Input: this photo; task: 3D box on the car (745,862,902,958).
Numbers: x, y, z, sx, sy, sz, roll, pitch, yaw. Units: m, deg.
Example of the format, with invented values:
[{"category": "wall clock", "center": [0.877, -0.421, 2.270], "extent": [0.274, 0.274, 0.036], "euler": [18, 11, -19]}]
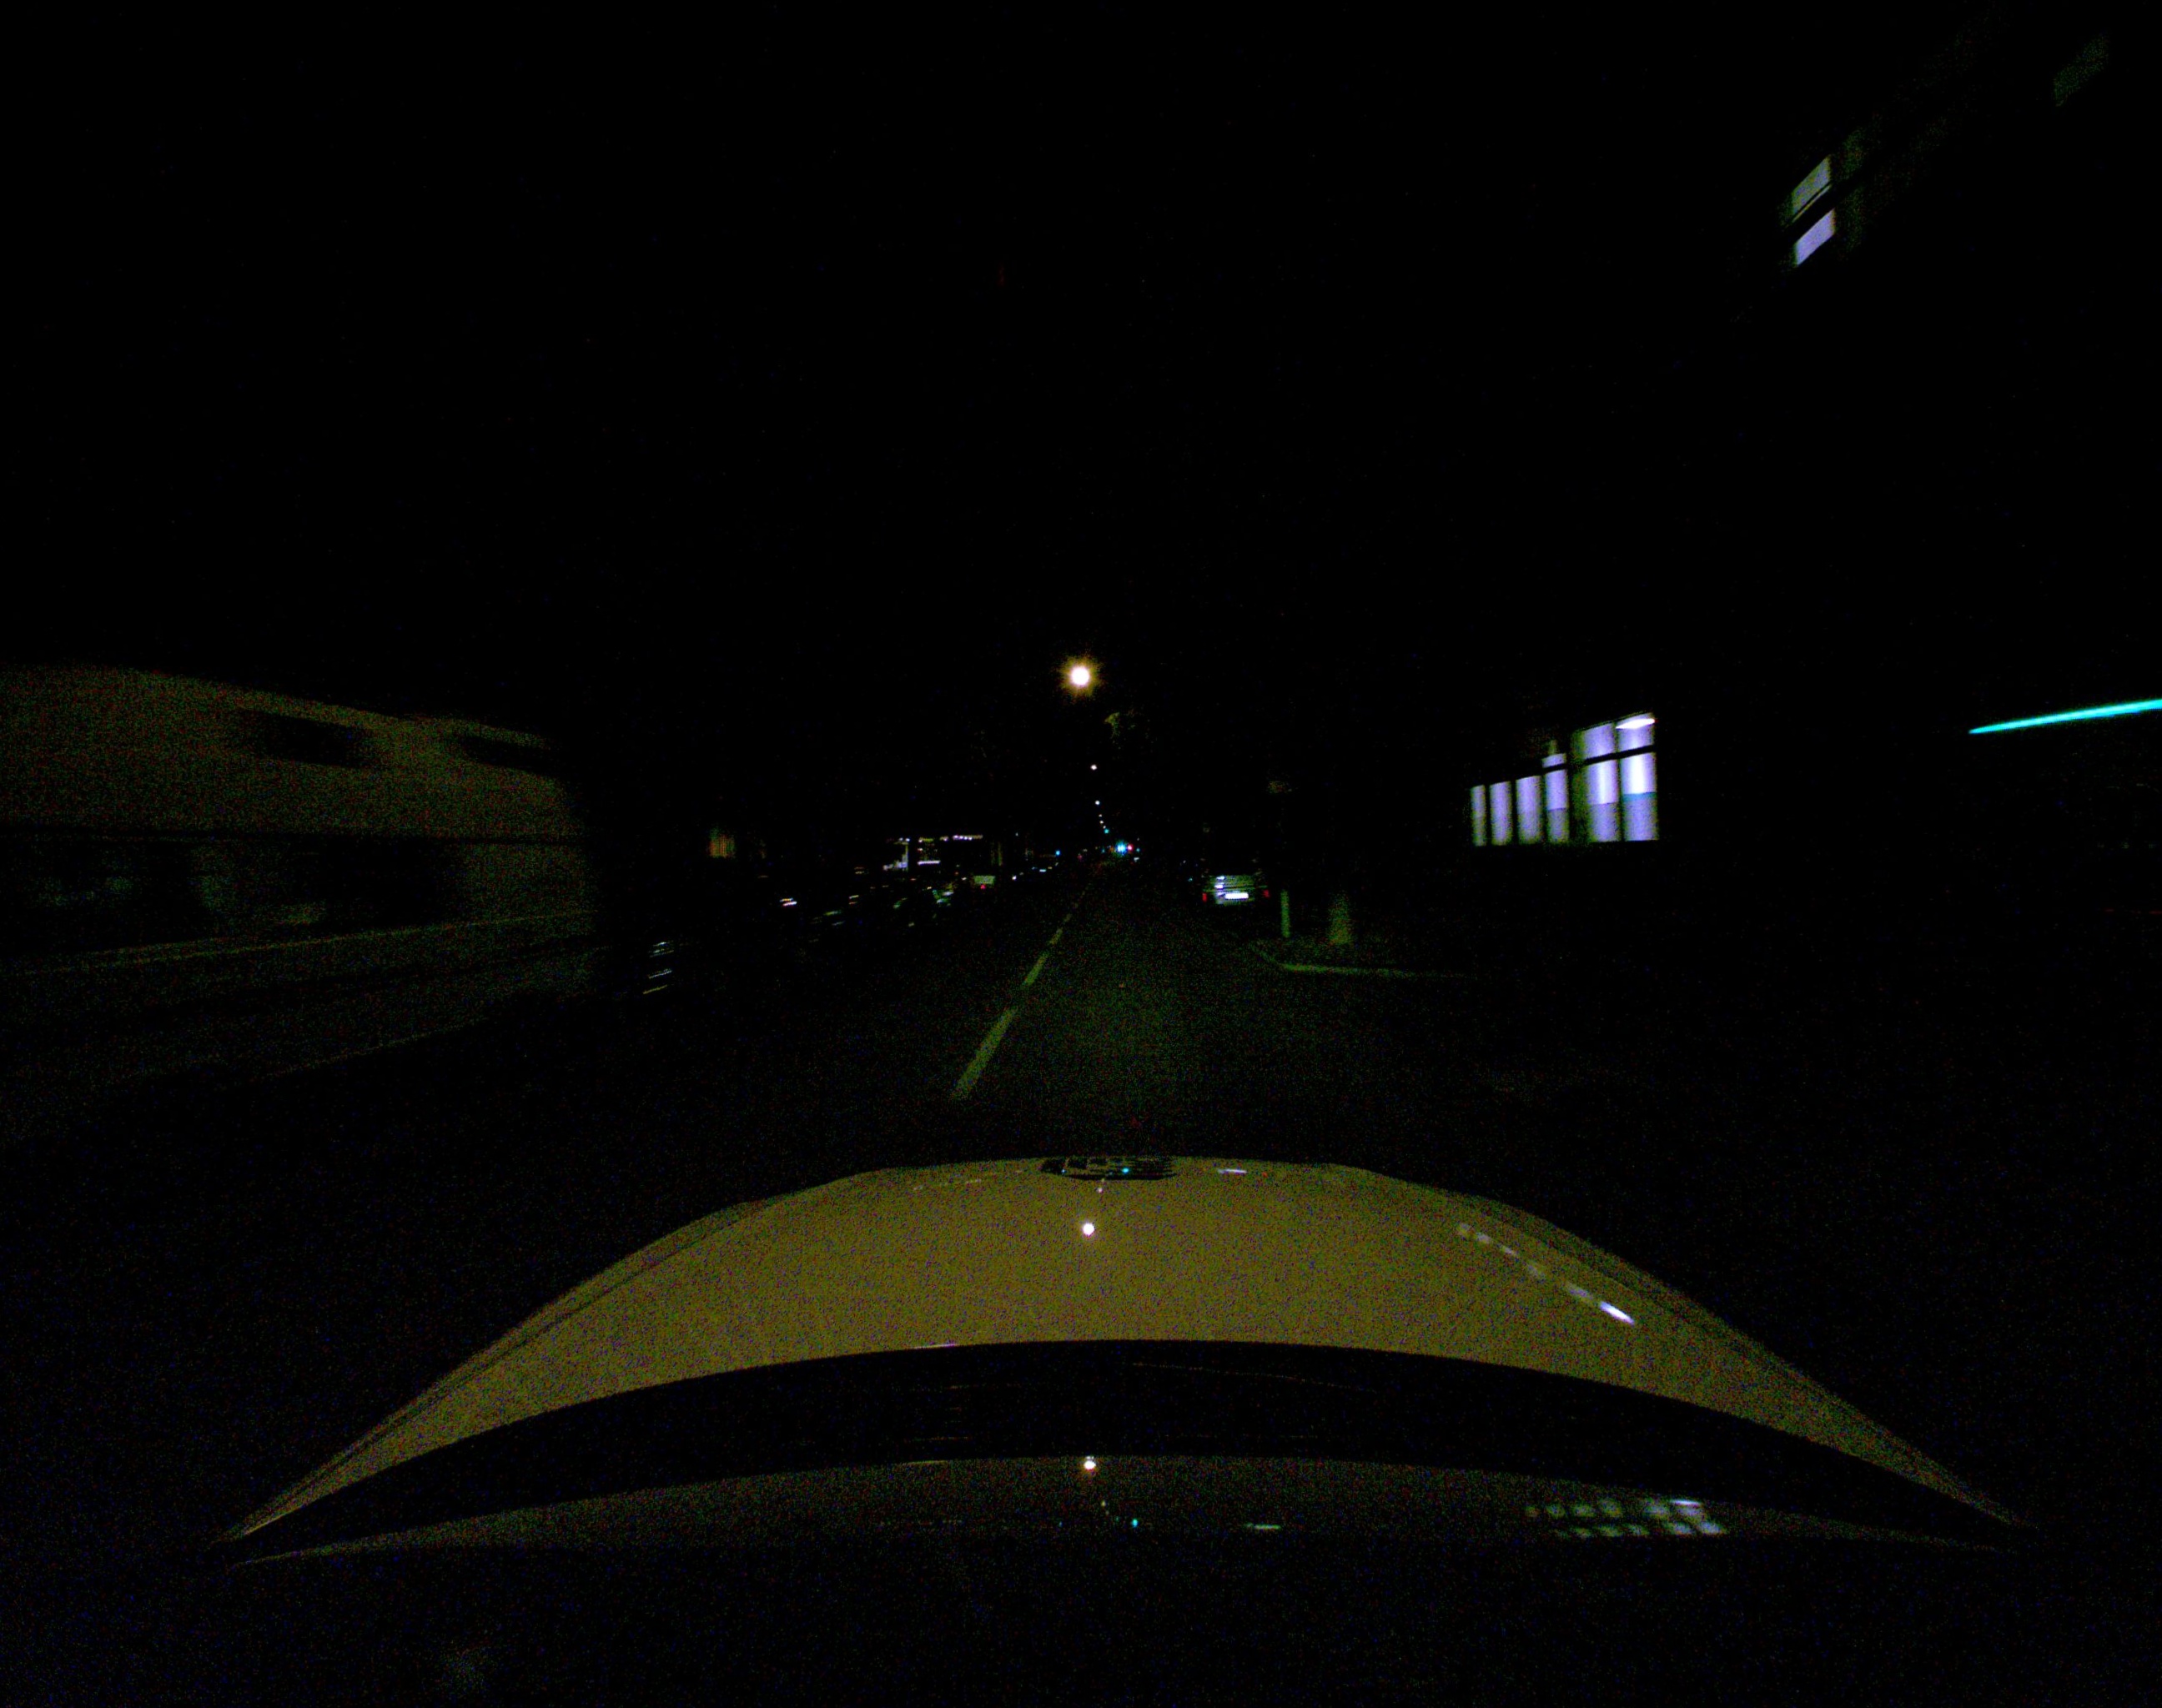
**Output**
[{"category": "car", "center": [-4.898, 0.984, 16.147], "extent": [1.736, 1.606, 4.297], "euler": [0, 0, 0]}]

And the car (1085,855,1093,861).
[{"category": "car", "center": [2.049, 0.975, 200.112], "extent": [1.734, 1.416, 3.754], "euler": [-1, 0, 2]}]

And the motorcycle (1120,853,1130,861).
[{"category": "motorcycle", "center": [7.217, 0.516, 133.098], "extent": [0.630, 1.270, 2.077], "euler": [-2, 0, 37]}]

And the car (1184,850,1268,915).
[{"category": "car", "center": [3.710, 0.669, 21.454], "extent": [1.661, 1.429, 4.152], "euler": [-4, 0, 4]}]

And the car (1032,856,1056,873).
[{"category": "car", "center": [-3.194, 0.910, 71.390], "extent": [1.693, 1.433, 3.831], "euler": [1, 0, 3]}]

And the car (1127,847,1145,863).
[{"category": "car", "center": [6.158, 0.091, 91.893], "extent": [1.846, 1.654, 4.212], "euler": [-4, 0, 2]}]

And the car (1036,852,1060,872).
[{"category": "car", "center": [-3.100, 0.731, 77.630], "extent": [1.815, 1.811, 4.213], "euler": [1, 0, 3]}]

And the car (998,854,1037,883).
[{"category": "car", "center": [-3.792, 0.844, 49.486], "extent": [1.815, 1.599, 4.076], "euler": [1, 0, 3]}]

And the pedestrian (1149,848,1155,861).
[{"category": "pedestrian", "center": [9.770, 0.071, 111.594], "extent": [0.702, 1.721, 0.822], "euler": [-3, 0, 2]}]

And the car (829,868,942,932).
[{"category": "car", "center": [-4.933, 1.106, 21.222], "extent": [1.698, 1.411, 4.635], "euler": [-1, 0, 1]}]

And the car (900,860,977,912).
[{"category": "car", "center": [-4.575, 0.986, 26.727], "extent": [1.710, 1.502, 4.206], "euler": [1, 0, 1]}]

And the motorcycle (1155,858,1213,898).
[{"category": "motorcycle", "center": [3.467, 0.794, 27.645], "extent": [0.930, 1.283, 2.217], "euler": [-3, 0, -23]}]

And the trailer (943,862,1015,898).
[{"category": "trailer", "center": [-4.237, 1.050, 34.769], "extent": [2.102, 1.335, 5.439], "euler": [1, 0, 3]}]

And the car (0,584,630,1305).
[{"category": "car", "center": [-5.410, 0.367, 5.256], "extent": [2.171, 2.909, 4.911], "euler": [0, 0, 1]}]

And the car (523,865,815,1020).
[{"category": "car", "center": [-5.173, 0.993, 10.954], "extent": [1.735, 1.606, 4.117], "euler": [0, 0, 2]}]
